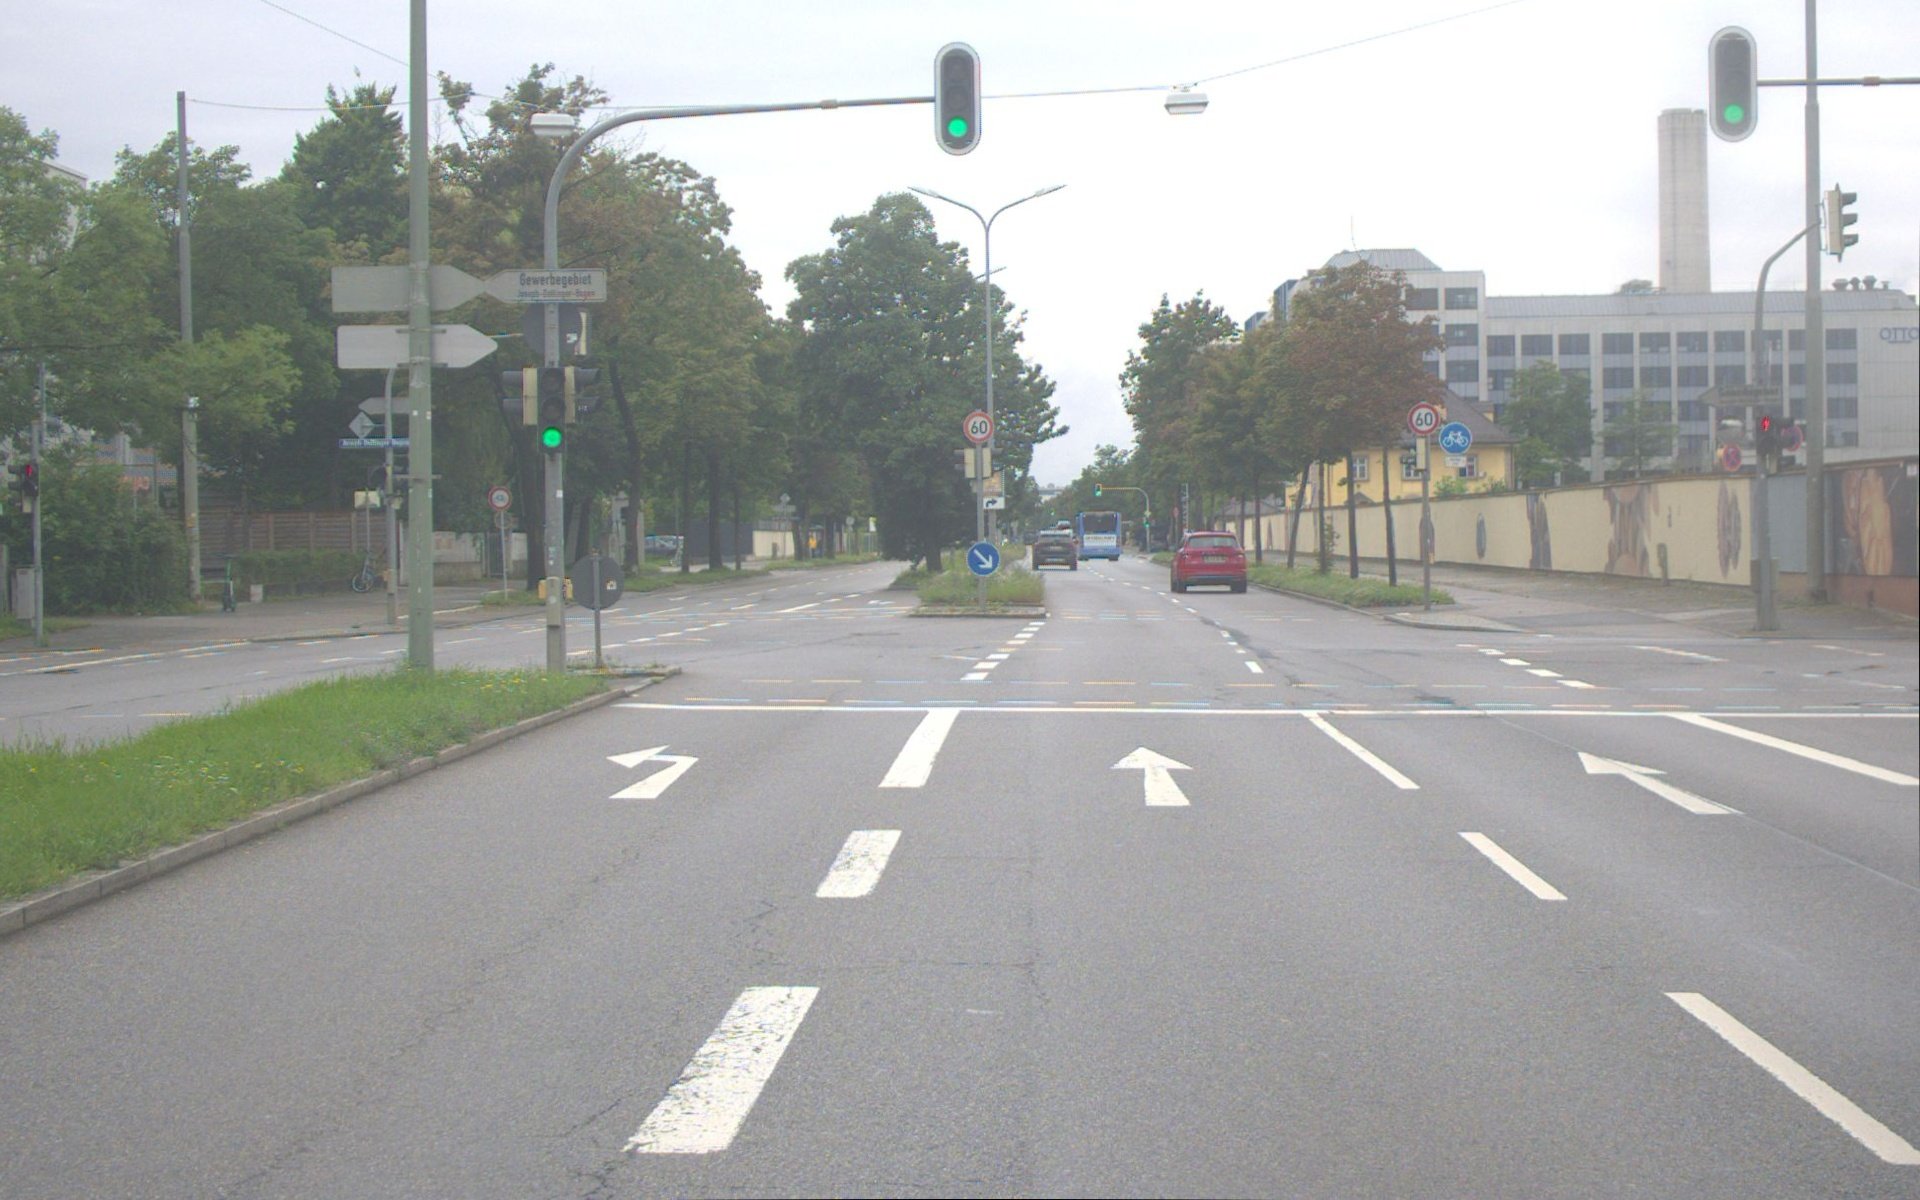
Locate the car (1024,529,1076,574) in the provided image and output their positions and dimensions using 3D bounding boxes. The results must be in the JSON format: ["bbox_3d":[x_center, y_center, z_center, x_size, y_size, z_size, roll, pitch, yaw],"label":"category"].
[{"bbox_3d":[3.791,-2.059,145.484,2.084,1.859,4.386,0,1,0],"label":"car"}]

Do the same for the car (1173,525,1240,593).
[{"bbox_3d":[6.363,-1.062,89.035,1.484,1.710,3.551,0,1,0],"label":"car"}]

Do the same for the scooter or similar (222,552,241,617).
[{"bbox_3d":[-16.120,-0.348,76.056,0.370,1.419,1.406,0,1,-14],"label":"scooter or similar"}]

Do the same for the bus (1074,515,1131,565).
[{"bbox_3d":[9.042,-3.798,219.242,3.220,3.116,10.345,0,1,0],"label":"bus"}]

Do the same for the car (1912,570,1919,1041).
[{"bbox_3d":[3.875,0.679,8.503,1.878,1.463,4.502,0,1,1],"label":"car"}]

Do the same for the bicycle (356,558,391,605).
[{"bbox_3d":[-16.263,-0.519,95.404,0.582,1.291,2.454,0,1,-1],"label":"bicycle"}]
